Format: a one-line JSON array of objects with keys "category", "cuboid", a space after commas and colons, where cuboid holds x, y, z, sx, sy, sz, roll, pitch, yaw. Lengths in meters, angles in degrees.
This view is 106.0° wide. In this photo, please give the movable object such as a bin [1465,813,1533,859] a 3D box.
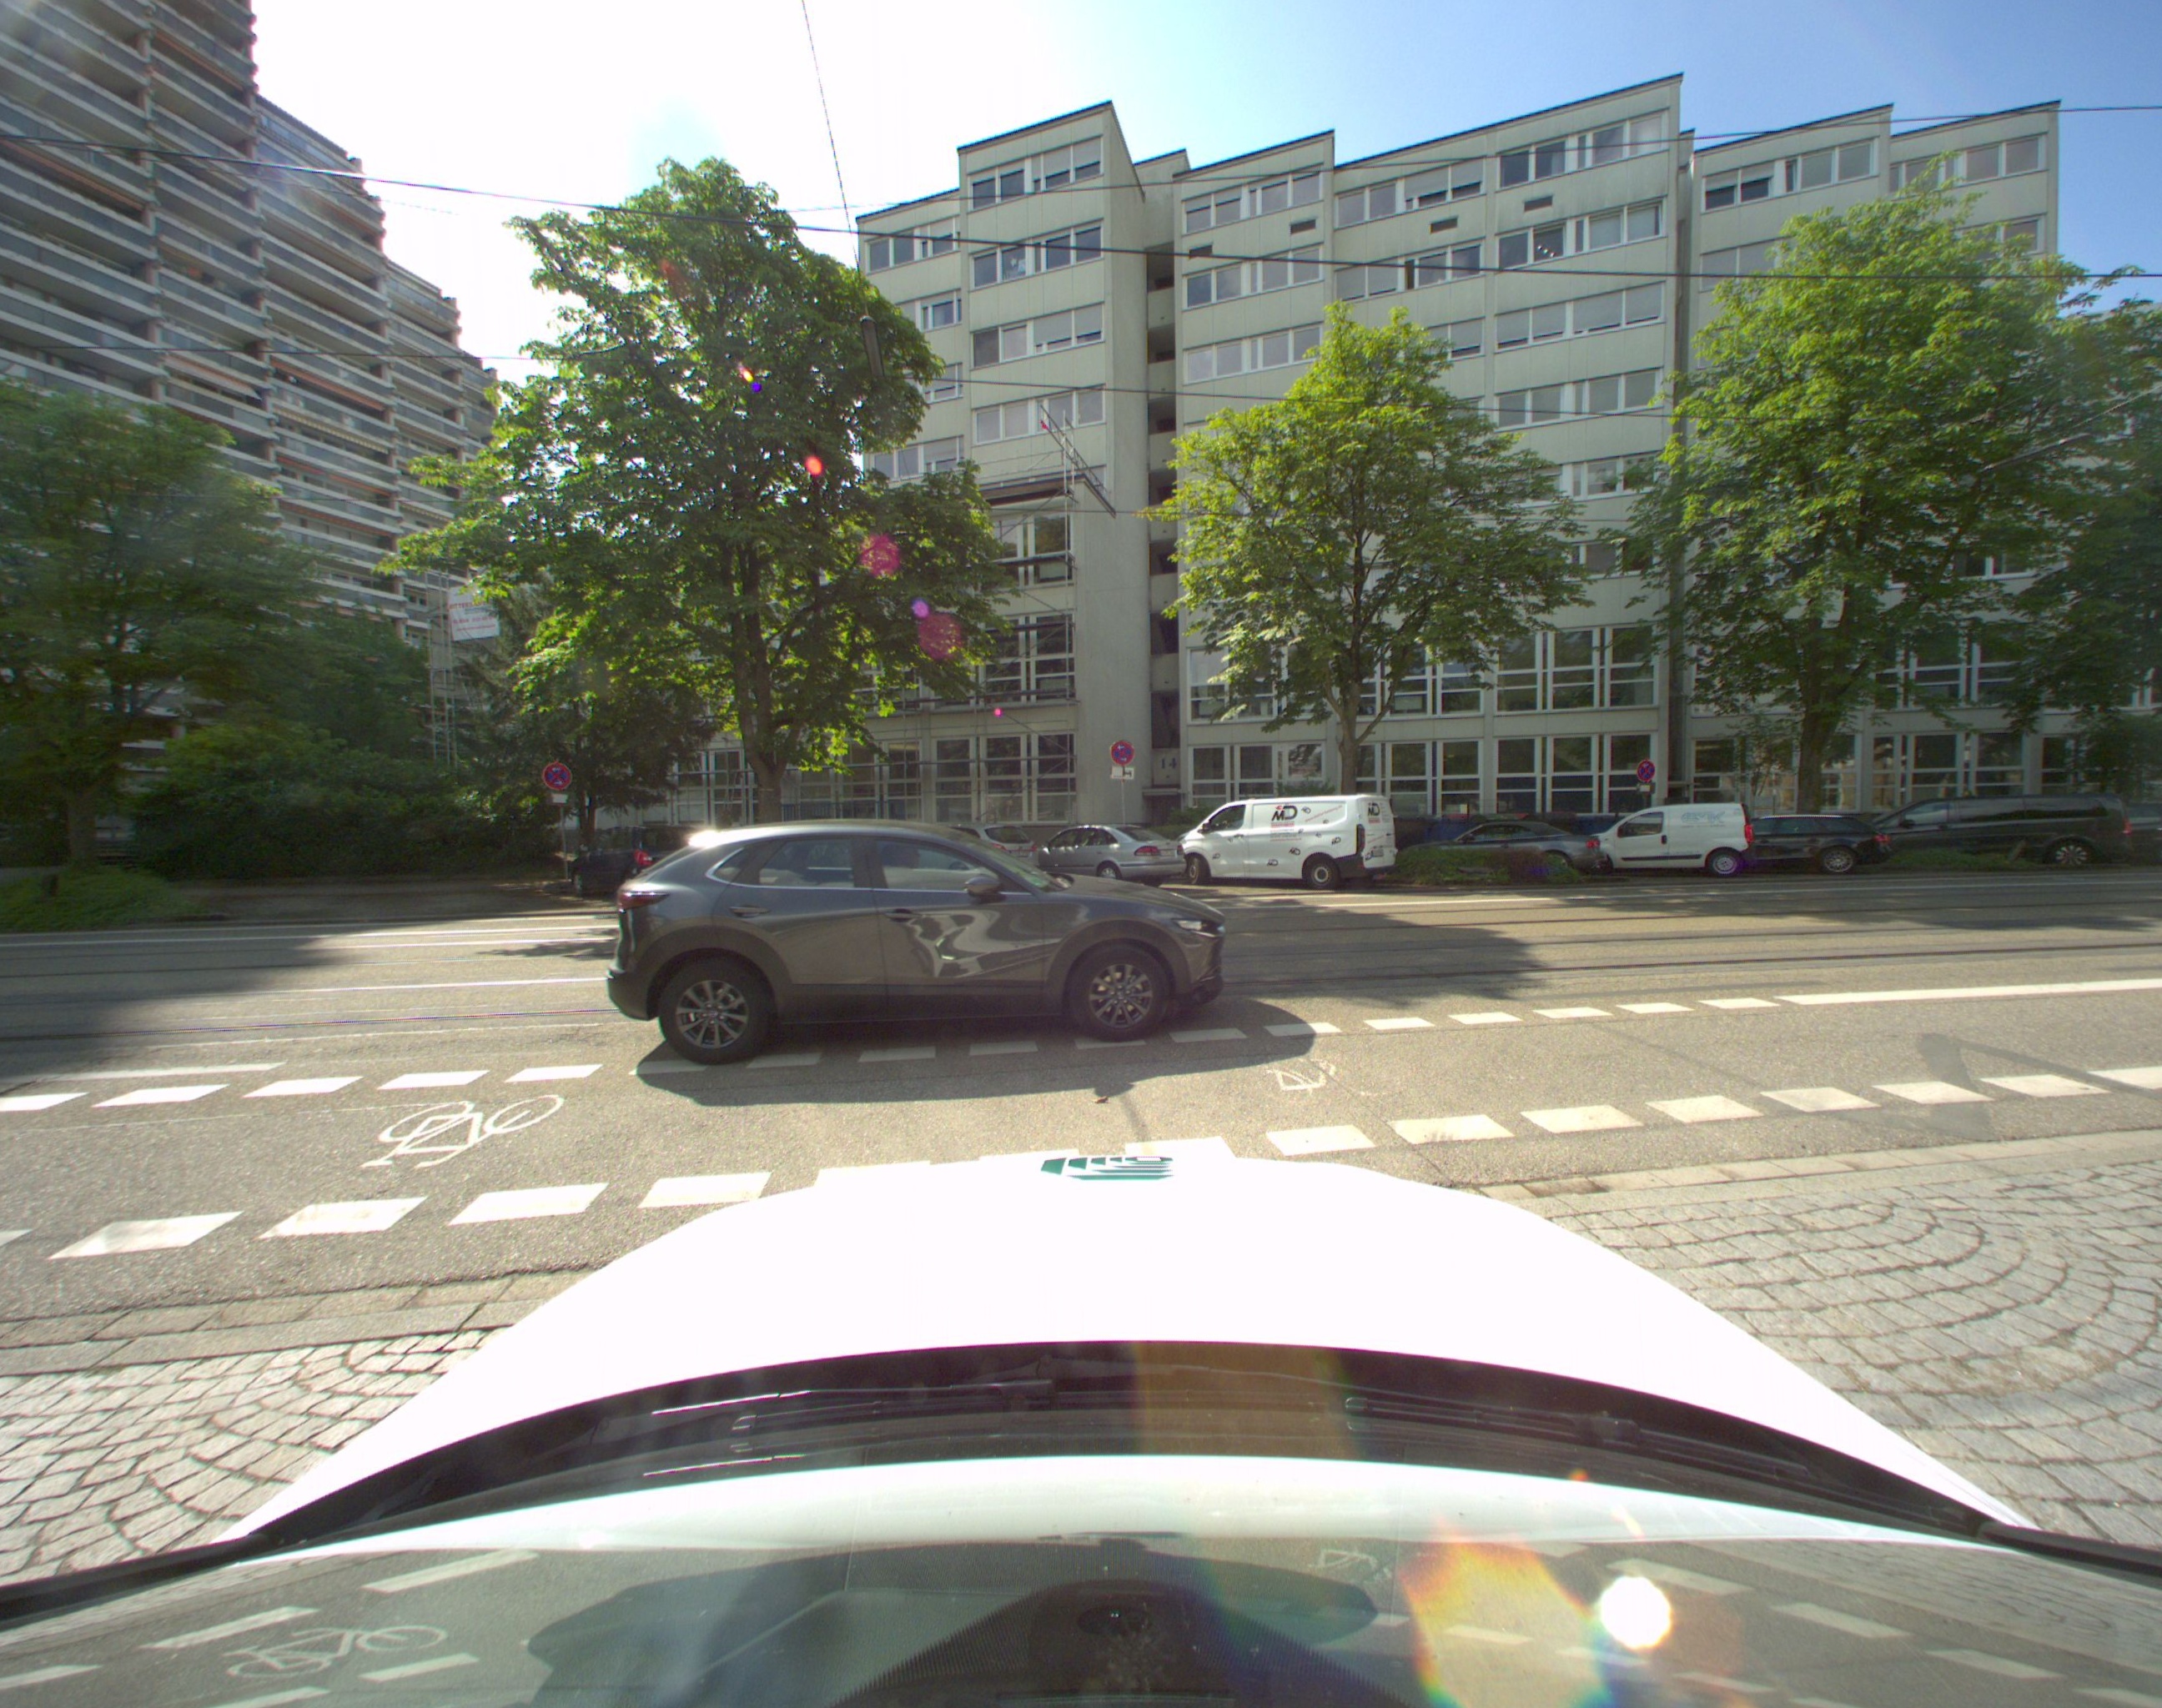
[{"category": "movable object such as a bin", "cuboid": [13.035, -0.563, 25.418, 1.437, 1.380, 1.192, -1, -1, -10]}]

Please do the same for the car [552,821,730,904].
[{"category": "car", "cuboid": [-9.215, 0.097, 16.968, 3.835, 1.523, 1.754, 1, 3, 37]}]

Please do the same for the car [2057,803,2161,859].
[{"category": "car", "cuboid": [29.739, -0.651, 22.066, 3.949, 1.484, 1.752, -1, 0, 41]}]

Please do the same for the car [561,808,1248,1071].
[{"category": "car", "cuboid": [-1.114, 0.466, 6.198, 4.334, 1.511, 1.791, -2, 4, -9]}]

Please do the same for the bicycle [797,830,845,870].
[{"category": "bicycle", "cuboid": [-7.887, -0.136, 24.779, 0.536, 1.121, 1.588, -3, 2, 17]}]

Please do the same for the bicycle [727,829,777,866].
[{"category": "bicycle", "cuboid": [-10.537, -0.217, 26.119, 0.536, 1.080, 1.588, -3, 2, 17]}]

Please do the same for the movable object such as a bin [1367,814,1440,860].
[{"category": "movable object such as a bin", "cuboid": [9.808, -0.501, 24.823, 1.535, 1.364, 1.386, -1, -1, -11]}]

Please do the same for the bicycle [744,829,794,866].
[{"category": "bicycle", "cuboid": [-9.784, -0.219, 25.584, 0.536, 1.092, 1.588, -3, 2, 17]}]

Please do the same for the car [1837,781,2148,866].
[{"category": "car", "cuboid": [23.367, -0.711, 21.262, 5.101, 1.954, 1.929, -1, 0, 37]}]

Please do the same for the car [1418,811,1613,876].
[{"category": "car", "cuboid": [10.373, -0.209, 19.567, 3.948, 1.417, 1.733, -1, 0, 32]}]

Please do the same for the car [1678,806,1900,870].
[{"category": "car", "cuboid": [17.157, -0.356, 20.016, 3.948, 1.417, 1.772, -1, 0, 37]}]

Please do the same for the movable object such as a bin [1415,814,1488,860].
[{"category": "movable object such as a bin", "cuboid": [11.400, -0.503, 25.124, 1.535, 1.364, 1.386, -1, -1, -11]}]

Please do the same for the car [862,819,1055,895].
[{"category": "car", "cuboid": [-2.787, 0.012, 18.101, 4.139, 1.500, 1.834, 1, 3, 37]}]

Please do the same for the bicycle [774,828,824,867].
[{"category": "bicycle", "cuboid": [-8.640, -0.204, 24.986, 0.536, 1.113, 1.588, -3, 2, 17]}]

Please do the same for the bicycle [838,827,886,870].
[{"category": "bicycle", "cuboid": [-6.501, -0.182, 24.233, 0.536, 1.162, 1.588, -3, 2, 17]}]

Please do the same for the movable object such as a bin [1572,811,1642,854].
[{"category": "movable object such as a bin", "cuboid": [16.470, -0.658, 25.537, 1.436, 1.283, 1.168, -1, -1, -8]}]

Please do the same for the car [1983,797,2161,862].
[{"category": "car", "cuboid": [26.830, -0.625, 21.382, 3.948, 1.593, 1.752, -1, 0, 39]}]

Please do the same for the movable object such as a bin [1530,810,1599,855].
[{"category": "movable object such as a bin", "cuboid": [15.020, -0.648, 25.323, 1.436, 1.327, 1.164, -1, -1, -8]}]

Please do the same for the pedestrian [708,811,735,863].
[{"category": "pedestrian", "cuboid": [-11.451, -0.554, 25.989, 0.661, 1.623, 0.639, -1, 3, -15]}]

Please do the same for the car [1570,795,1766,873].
[{"category": "car", "cuboid": [14.050, -0.431, 19.590, 3.667, 1.693, 1.771, -1, 0, 40]}]

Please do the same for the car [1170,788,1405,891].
[{"category": "car", "cuboid": [4.468, -0.357, 18.051, 4.627, 1.997, 1.981, 1, 3, 41]}]

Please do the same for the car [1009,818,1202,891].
[{"category": "car", "cuboid": [0.481, -0.041, 18.406, 4.118, 1.449, 1.834, 1, 3, 41]}]
